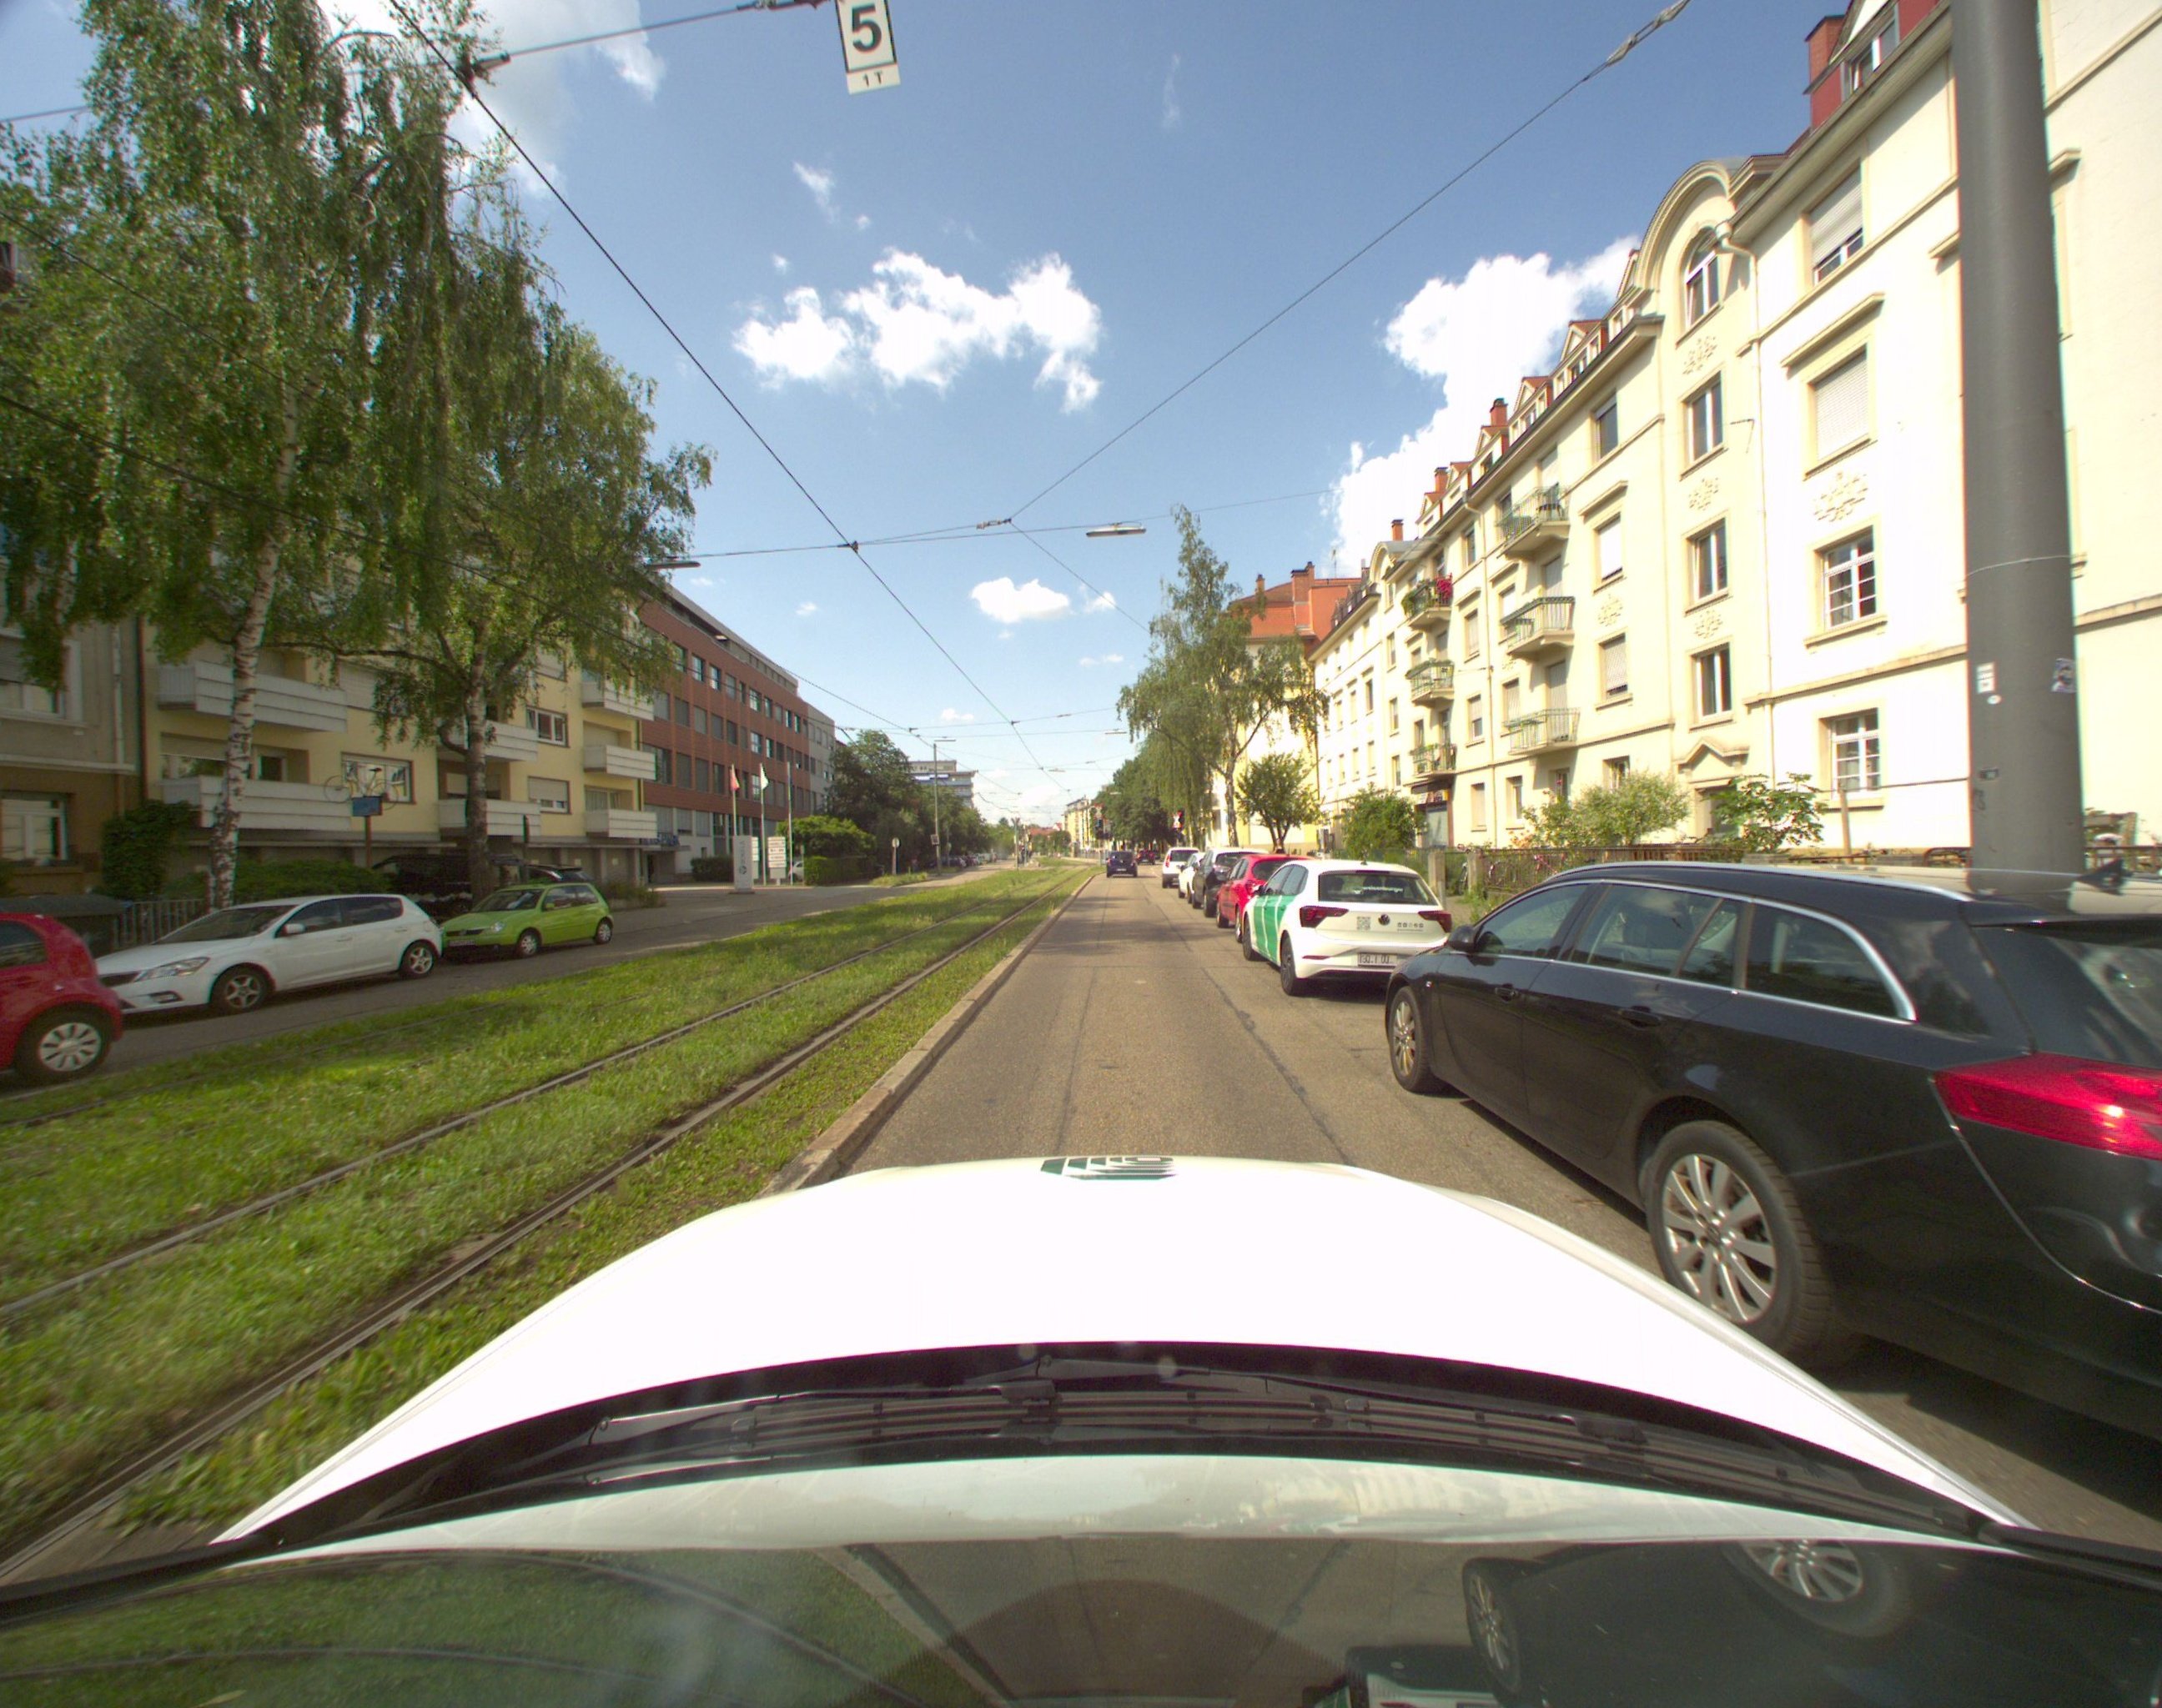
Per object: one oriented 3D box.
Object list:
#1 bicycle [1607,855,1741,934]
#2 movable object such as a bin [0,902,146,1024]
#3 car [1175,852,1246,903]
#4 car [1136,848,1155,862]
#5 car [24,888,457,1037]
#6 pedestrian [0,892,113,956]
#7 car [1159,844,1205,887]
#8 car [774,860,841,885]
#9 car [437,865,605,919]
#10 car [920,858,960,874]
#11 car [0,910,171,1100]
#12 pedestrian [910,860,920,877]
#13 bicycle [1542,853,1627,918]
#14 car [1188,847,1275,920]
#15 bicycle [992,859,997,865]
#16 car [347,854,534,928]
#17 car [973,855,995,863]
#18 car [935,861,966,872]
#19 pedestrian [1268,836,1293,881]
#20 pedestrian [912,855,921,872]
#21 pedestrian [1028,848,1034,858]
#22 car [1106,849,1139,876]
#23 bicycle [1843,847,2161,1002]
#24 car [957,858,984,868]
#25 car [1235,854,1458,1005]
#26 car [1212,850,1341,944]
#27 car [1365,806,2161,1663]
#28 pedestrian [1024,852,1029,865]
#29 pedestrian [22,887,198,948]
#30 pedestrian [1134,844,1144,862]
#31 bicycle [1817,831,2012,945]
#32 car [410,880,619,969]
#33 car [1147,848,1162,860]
[{"bbox_3d":[7.845,0.492,10.890,0.376,0.943,2.010,-2,0,2],"label":"bicycle"},{"bbox_3d":[-14.063,1.423,11.056,0.947,1.430,1.522,0,0,2],"label":"movable object such as a bin"},{"bbox_3d":[3.837,0.658,24.674,1.666,1.417,3.797,1,0,2],"label":"car"},{"bbox_3d":[6.154,0.090,77.988,1.694,1.368,3.515,0,0,1],"label":"car"},{"bbox_3d":[-11.603,1.378,11.779,1.637,1.477,4.229,-4,0,3],"label":"car"},{"bbox_3d":[-20.971,1.404,16.112,2.394,1.138,1.068,-3,0,3],"label":"pedestrian"},{"bbox_3d":[4.044,0.438,33.033,1.713,1.629,4.006,0,0,5],"label":"car"},{"bbox_3d":[-19.156,1.294,57.175,3.975,1.596,1.999,-2,0,-1],"label":"car"},{"bbox_3d":[-17.742,1.183,25.931,3.971,1.602,1.974,-1,0,2],"label":"car"},{"bbox_3d":[-15.906,1.340,91.971,4.156,1.640,1.705,-2,0,-43],"label":"car"},{"bbox_3d":[-9.243,1.257,5.628,1.572,1.386,3.696,-3,0,3],"label":"car"},{"bbox_3d":[-16.306,1.415,80.059,0.742,1.574,0.890,-2,-2,5],"label":"pedestrian"},{"bbox_3d":[7.901,0.471,12.844,0.386,0.938,1.586,-2,0,2],"label":"bicycle"},{"bbox_3d":[3.512,0.634,19.548,1.488,1.579,3.760,0,0,1],"label":"car"},{"bbox_3d":[-15.282,1.428,143.822,0.678,0.971,2.179,-3,0,1],"label":"bicycle"},{"bbox_3d":[-18.305,1.022,23.390,3.967,2.013,1.940,0,0,6],"label":"car"},{"bbox_3d":[-19.279,0.980,161.687,4.019,1.447,1.708,-3,0,-38],"label":"car"},{"bbox_3d":[-15.631,1.511,97.578,3.408,1.236,1.526,-2,0,-43],"label":"car"},{"bbox_3d":[7.634,0.167,31.164,0.726,1.683,0.692,-4,0,6],"label":"pedestrian"},{"bbox_3d":[-16.722,0.989,82.756,0.554,1.657,0.748,-2,-1,5],"label":"pedestrian"},{"bbox_3d":[-7.265,-0.093,118.618,0.648,1.426,0.567,-3,0,34],"label":"pedestrian"},{"bbox_3d":[2.397,0.466,46.397,1.760,1.462,3.779,-1,0,4],"label":"car"},{"bbox_3d":[7.621,0.493,6.852,0.469,1.077,2.185,-3,0,4],"label":"bicycle"},{"bbox_3d":[-17.752,1.407,131.317,4.024,1.367,1.695,-3,0,-44],"label":"car"},{"bbox_3d":[2.990,0.741,10.018,1.613,1.452,3.921,1,0,3],"label":"car"},{"bbox_3d":[3.422,0.687,14.876,1.582,1.452,3.847,1,0,3],"label":"car"},{"bbox_3d":[2.886,0.670,3.689,1.785,1.520,4.529,0,0,2],"label":"car"},{"bbox_3d":[-7.892,0.620,117.640,0.601,1.766,0.640,-2,0,6],"label":"pedestrian"},{"bbox_3d":[-20.836,1.345,17.516,2.501,1.129,1.132,-2,0,3],"label":"pedestrian"},{"bbox_3d":[6.024,-0.118,85.173,0.869,1.775,1.002,-2,0,-3],"label":"pedestrian"},{"bbox_3d":[9.453,0.370,9.254,1.837,1.182,0.464,-2,0,-5],"label":"bicycle"},{"bbox_3d":[-11.547,1.371,16.937,1.587,1.432,3.618,-3,0,4],"label":"car"},{"bbox_3d":[10.152,0.027,112.851,1.854,1.445,4.002,-4,0,2],"label":"car"}]
